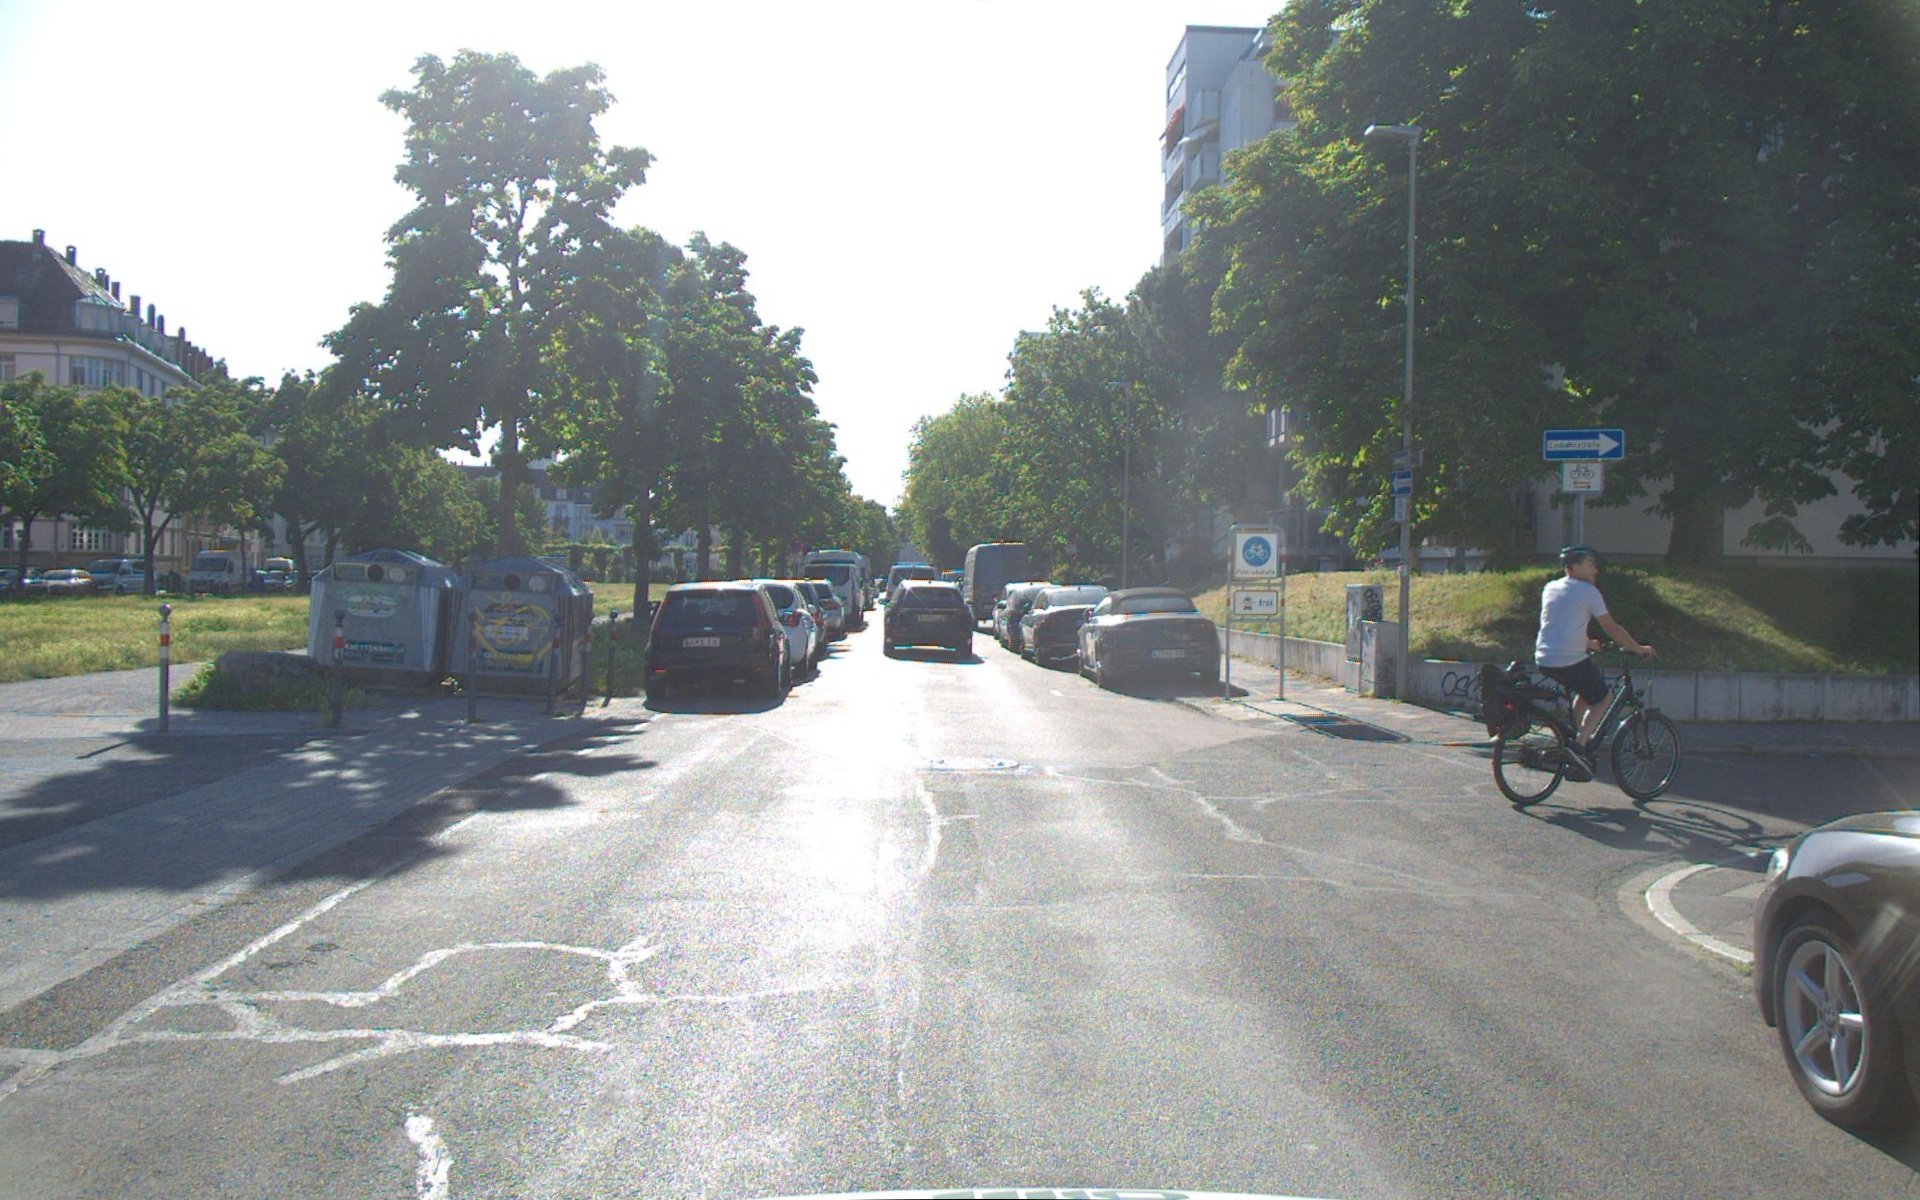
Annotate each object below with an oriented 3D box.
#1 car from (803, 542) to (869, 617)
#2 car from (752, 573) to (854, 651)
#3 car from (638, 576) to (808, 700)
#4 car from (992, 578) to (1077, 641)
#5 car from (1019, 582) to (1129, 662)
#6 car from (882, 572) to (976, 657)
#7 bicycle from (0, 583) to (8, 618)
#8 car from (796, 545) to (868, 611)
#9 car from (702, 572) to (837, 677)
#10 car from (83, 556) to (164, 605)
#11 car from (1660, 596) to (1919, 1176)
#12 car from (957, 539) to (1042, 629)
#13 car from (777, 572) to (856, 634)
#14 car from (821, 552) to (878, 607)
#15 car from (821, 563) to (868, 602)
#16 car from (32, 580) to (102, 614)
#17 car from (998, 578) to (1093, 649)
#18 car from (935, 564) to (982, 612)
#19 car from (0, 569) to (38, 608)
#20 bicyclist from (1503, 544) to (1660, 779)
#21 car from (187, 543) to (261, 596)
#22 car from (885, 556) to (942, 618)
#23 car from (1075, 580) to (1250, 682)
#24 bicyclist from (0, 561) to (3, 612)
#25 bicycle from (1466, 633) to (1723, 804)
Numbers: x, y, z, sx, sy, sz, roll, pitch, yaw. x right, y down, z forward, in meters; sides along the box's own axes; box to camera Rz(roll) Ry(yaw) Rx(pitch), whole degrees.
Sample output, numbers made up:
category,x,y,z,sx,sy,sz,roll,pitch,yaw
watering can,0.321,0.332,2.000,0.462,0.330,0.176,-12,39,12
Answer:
category,x,y,z,sx,sy,sz,roll,pitch,yaw
car,-4.384,-0.741,58.893,2.056,2.540,4.126,1,1,-1
car,-3.189,0.203,34.261,1.743,1.487,4.126,1,1,-1
car,-3.024,0.447,21.814,1.712,1.449,3.915,-1,0,-1
car,1.897,0.206,43.128,1.948,1.513,4.126,1,1,-1
car,2.114,0.366,31.699,1.743,1.395,4.126,1,1,-1
car,-0.619,0.248,33.473,1.743,1.557,4.000,2,1,-1
bicycle,-35.957,0.030,60.585,0.794,1.274,2.633,1,1,-4
car,-4.004,-0.695,52.494,2.056,1.976,4.125,1,1,-2
car,-2.952,0.348,26.338,1.741,1.521,3.874,-1,0,-1
car,-39.837,-0.921,78.877,1.661,2.252,5.004,1,1,-4
car,3.534,0.772,3.628,1.919,1.507,4.497,-1,1,-3
car,1.209,-0.539,53.210,2.121,2.736,5.411,1,1,-5
car,-3.772,0.043,44.040,1.796,1.526,4.126,1,1,-1
car,-5.585,-1.061,84.313,2.563,2.691,6.113,1,1,-1
car,-5.452,-0.841,78.656,1.969,1.816,4.126,0,1,-1
car,-39.454,-0.143,73.132,1.487,1.465,3.229,1,1,-5
car,1.908,0.266,38.067,1.744,1.513,4.029,1,1,-3
car,-0.100,-0.630,82.773,2.119,2.332,5.263,1,1,-3
car,-45.460,-0.562,78.064,1.822,1.779,3.998,1,1,-3
bicyclist,4.448,0.421,11.858,0.777,1.624,0.692,1,1,-21
car,-40.565,-1.686,91.301,1.878,2.791,5.620,1,1,-4
car,-1.543,-0.457,56.257,1.856,2.026,4.010,-1,1,-1
car,3.041,0.412,25.776,2.082,1.361,4.505,-2,1,-1
bicyclist,-35.922,-0.503,60.587,0.923,1.869,1.448,0,0,-3
bicycle,4.568,0.824,11.908,1.735,1.147,0.659,1,0,-21
